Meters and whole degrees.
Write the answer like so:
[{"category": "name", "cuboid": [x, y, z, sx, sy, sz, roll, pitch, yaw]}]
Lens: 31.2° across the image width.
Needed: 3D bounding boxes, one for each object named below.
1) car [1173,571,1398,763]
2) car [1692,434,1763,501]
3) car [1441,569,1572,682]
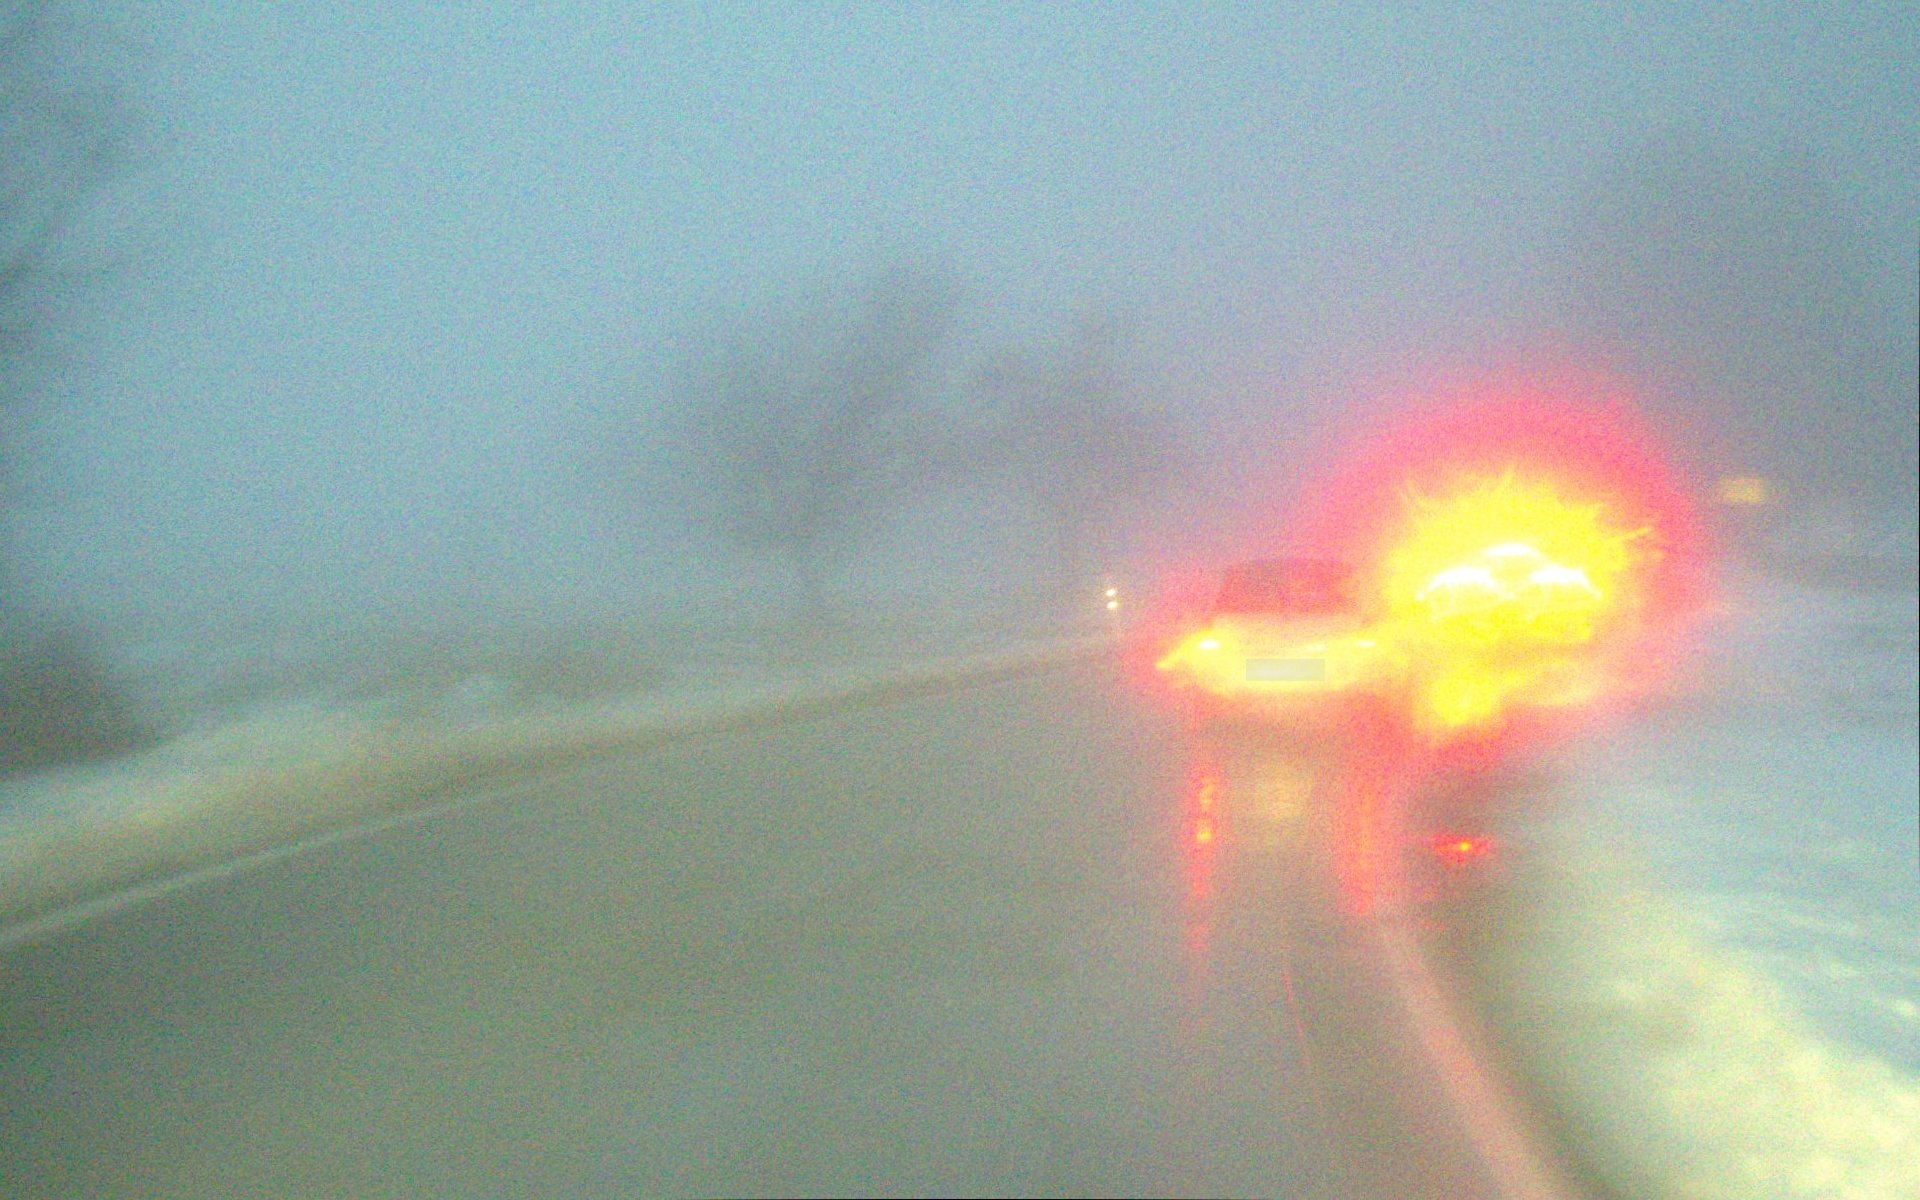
[{"category": "car", "cuboid": [2.821, 0.515, 29.168, 1.707, 1.458, 3.999, 2, 1, 7]}, {"category": "car", "cuboid": [18.837, -3.233, 84.348, 1.523, 1.503, 3.051, -1, 0, 15]}, {"category": "car", "cuboid": [7.758, 0.344, 48.660, 1.480, 1.503, 3.051, -1, 1, 15]}]
